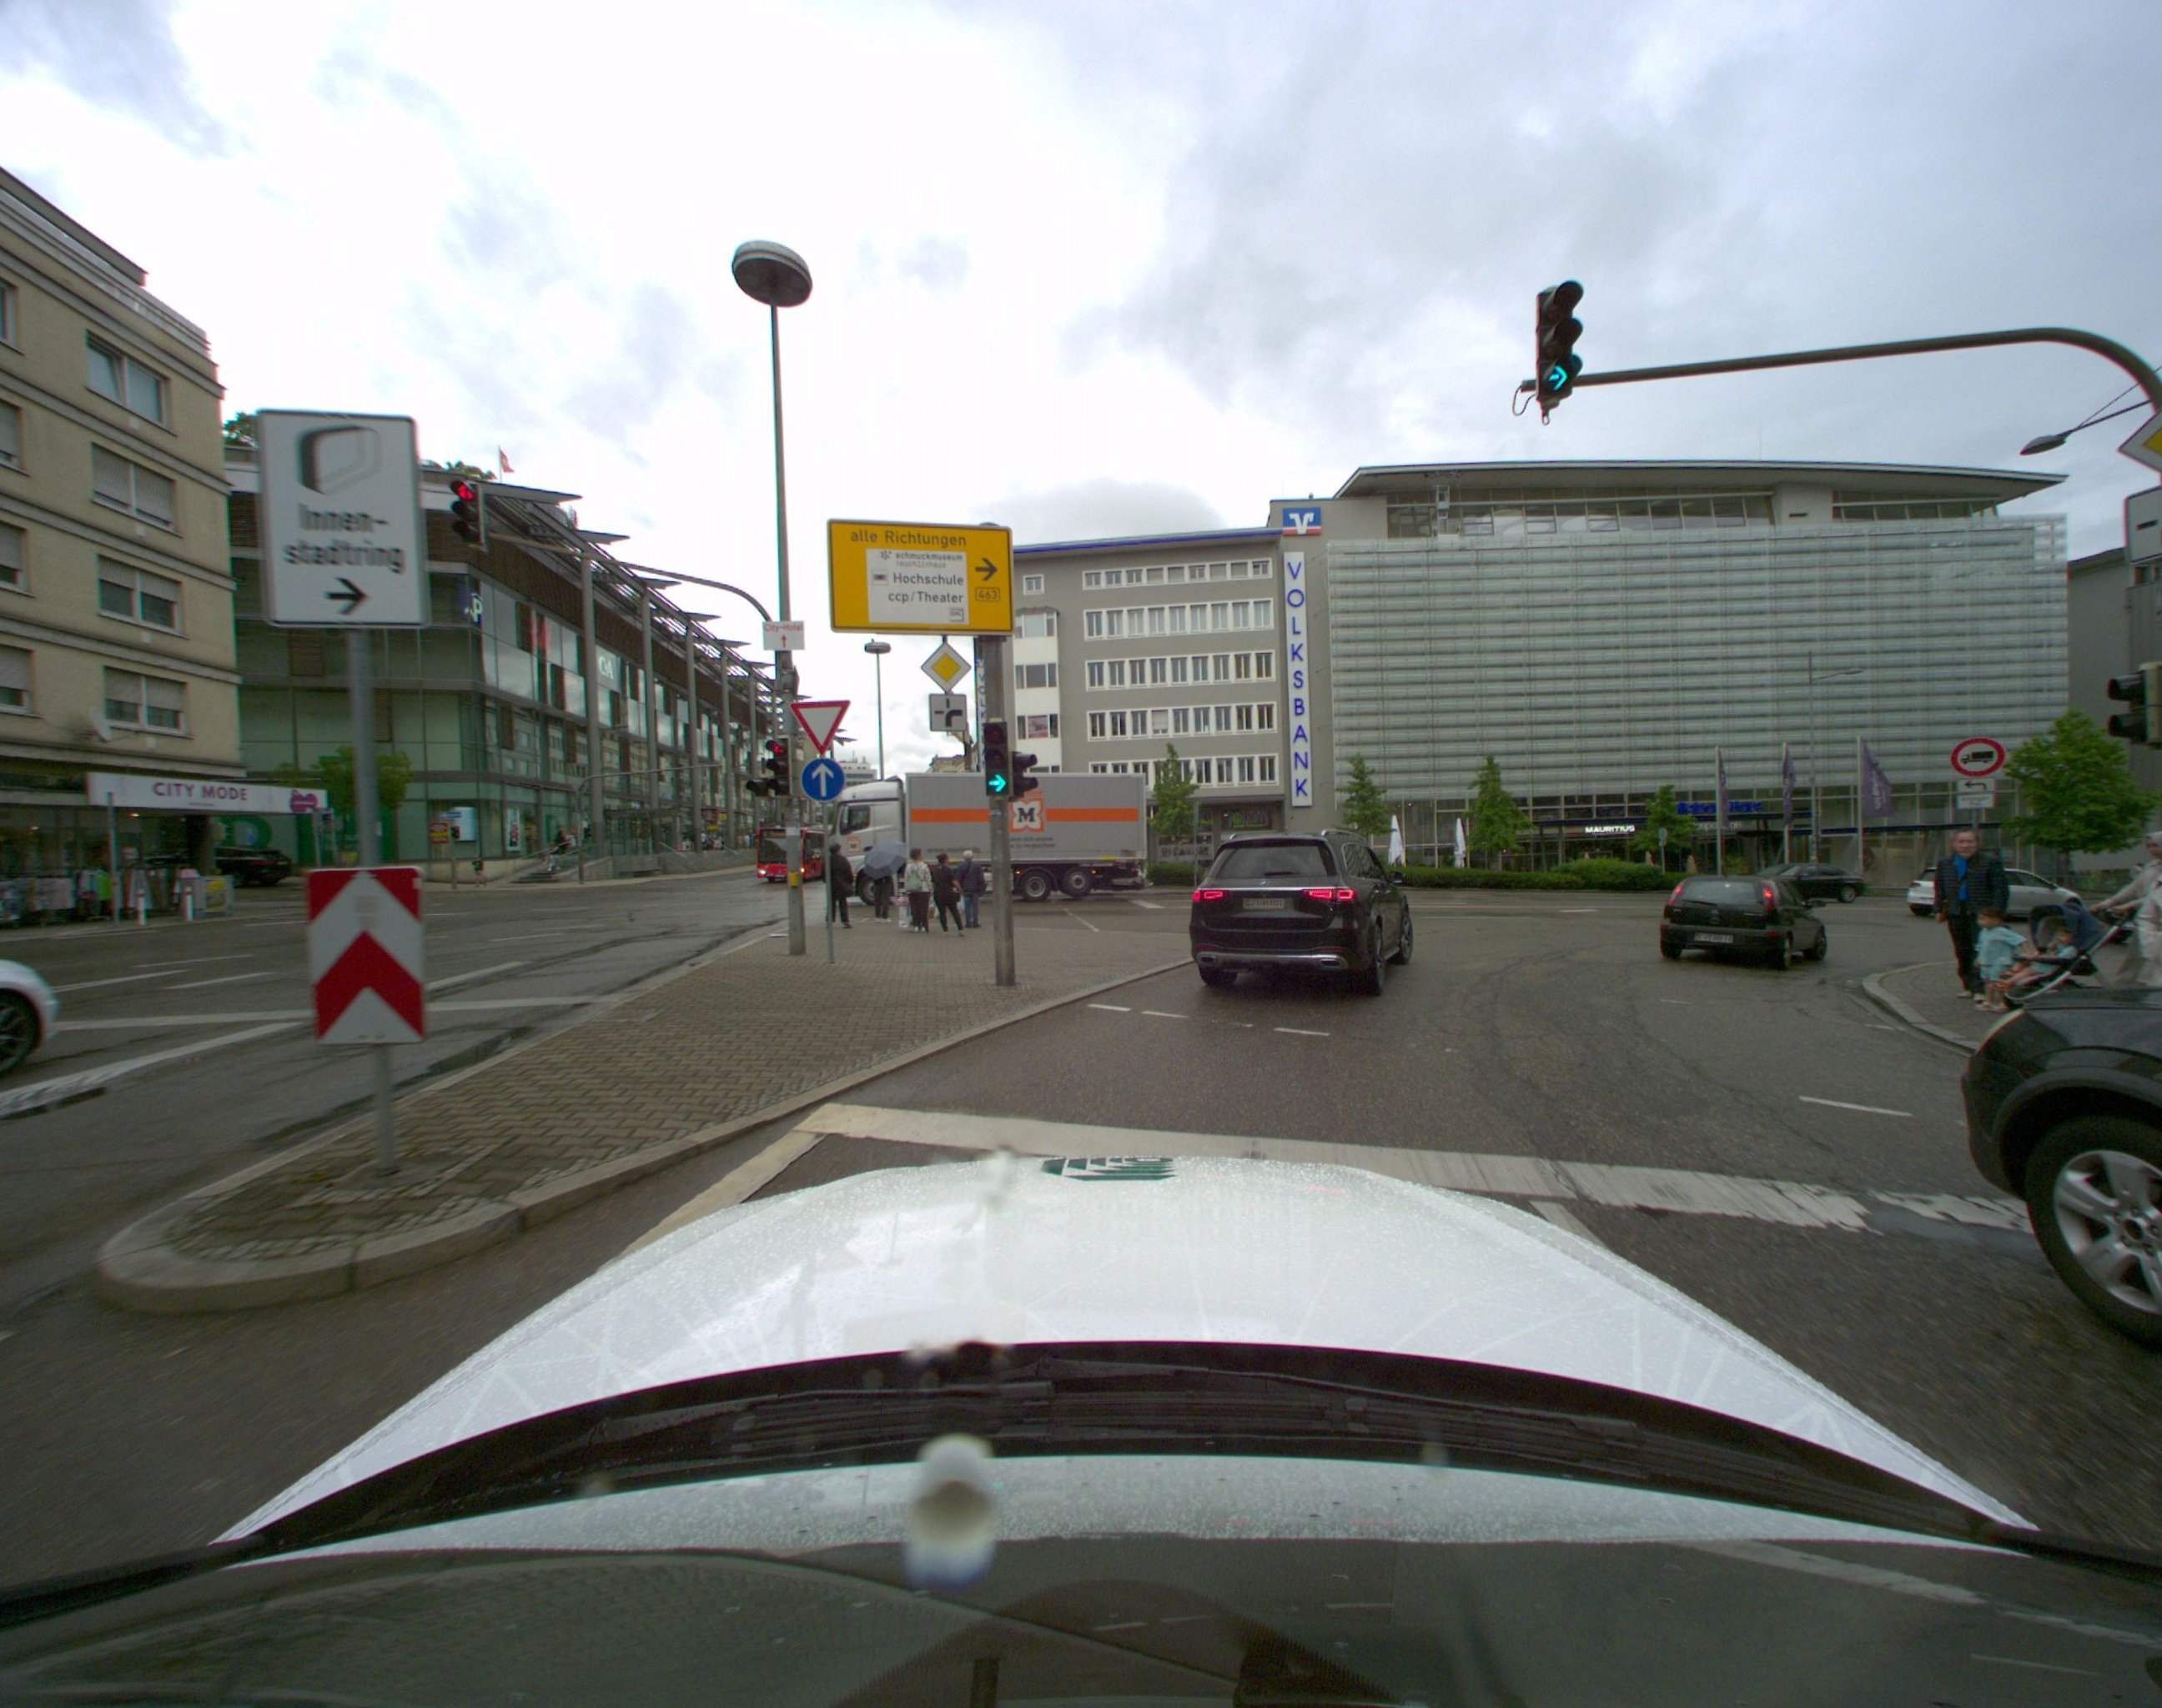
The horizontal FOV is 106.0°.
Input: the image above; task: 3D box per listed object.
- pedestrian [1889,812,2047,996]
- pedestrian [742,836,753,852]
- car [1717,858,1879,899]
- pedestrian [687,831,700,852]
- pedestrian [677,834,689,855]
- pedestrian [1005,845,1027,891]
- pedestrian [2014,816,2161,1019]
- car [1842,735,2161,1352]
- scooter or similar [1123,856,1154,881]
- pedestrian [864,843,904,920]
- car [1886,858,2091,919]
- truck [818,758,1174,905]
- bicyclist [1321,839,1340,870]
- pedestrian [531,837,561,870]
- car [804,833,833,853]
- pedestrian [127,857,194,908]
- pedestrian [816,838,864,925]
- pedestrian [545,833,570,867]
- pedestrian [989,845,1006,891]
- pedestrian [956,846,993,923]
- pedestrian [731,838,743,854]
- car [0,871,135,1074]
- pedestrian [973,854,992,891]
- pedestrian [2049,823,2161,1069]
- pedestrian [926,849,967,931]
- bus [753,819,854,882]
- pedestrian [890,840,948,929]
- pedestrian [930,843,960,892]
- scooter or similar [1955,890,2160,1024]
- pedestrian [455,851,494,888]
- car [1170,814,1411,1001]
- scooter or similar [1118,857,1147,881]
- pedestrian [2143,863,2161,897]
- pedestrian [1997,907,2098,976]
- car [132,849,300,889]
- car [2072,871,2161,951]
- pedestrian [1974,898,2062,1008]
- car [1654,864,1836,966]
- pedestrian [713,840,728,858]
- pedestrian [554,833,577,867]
[{"bbox_3d":[9.582,0.538,8.839,0.612,1.867,0.788,-5,-4,6],"label":"pedestrian"},{"bbox_3d":[-35.519,-1.097,86.674,0.939,1.713,0.987,-1,0,-15],"label":"pedestrian"},{"bbox_3d":[26.175,0.878,29.798,4.617,1.425,1.994,0,0,-9],"label":"car"},{"bbox_3d":[-31.693,-1.023,66.649,0.829,1.713,0.798,-1,0,-15],"label":"pedestrian"},{"bbox_3d":[-32.468,-0.758,66.437,0.682,1.713,0.846,-1,0,-15],"label":"pedestrian"},{"bbox_3d":[-2.392,0.502,30.017,0.778,1.689,0.638,0,0,-1],"label":"pedestrian"},{"bbox_3d":[9.513,0.537,7.380,1.030,1.722,0.840,-3,-1,7],"label":"pedestrian"},{"bbox_3d":[3.992,0.564,1.215,1.898,1.785,4.307,0,1,4],"label":"car"},{"bbox_3d":[3.006,0.735,42.156,1.488,1.256,0.934,0,3,10],"label":"scooter or similar"},{"bbox_3d":[-4.392,0.612,18.221,0.755,1.692,0.692,0,-2,-5],"label":"pedestrian"},{"bbox_3d":[25.470,0.936,22.937,3.984,1.573,1.952,0,1,-8],"label":"car"},{"bbox_3d":[-2.602,-0.739,26.164,10.729,4.333,2.848,-1,0,-8],"label":"truck"},{"bbox_3d":[14.058,0.047,45.853,0.840,1.704,0.624,-2,0,4],"label":"bicyclist"},{"bbox_3d":[-28.267,-0.032,43.069,1.040,1.713,1.002,-1,0,-15],"label":"pedestrian"},{"bbox_3d":[-26.455,-1.083,82.328,2.244,2.034,5.334,0,0,-12],"label":"car"},{"bbox_3d":[-30.007,0.917,26.564,0.870,1.586,1.152,-1,0,-6],"label":"pedestrian"},{"bbox_3d":[-4.832,0.553,16.370,0.782,1.711,0.705,0,-1,-5],"label":"pedestrian"},{"bbox_3d":[-30.594,-0.239,47.592,0.881,1.980,0.971,-1,0,-10],"label":"pedestrian"},{"bbox_3d":[-3.051,0.505,29.925,0.568,1.669,0.501,-1,0,-3],"label":"pedestrian"},{"bbox_3d":[-2.202,0.626,16.924,0.712,1.568,0.853,0,-1,-5],"label":"pedestrian"},{"bbox_3d":[-36.444,-0.874,86.300,1.040,1.713,1.002,-1,0,-15],"label":"pedestrian"},{"bbox_3d":[-8.329,0.881,4.291,1.792,1.415,4.616,-1,1,-10],"label":"car"},{"bbox_3d":[-3.613,0.664,29.883,0.631,1.339,0.585,0,0,-15],"label":"pedestrian"},{"bbox_3d":[7.468,0.605,5.531,0.539,1.637,0.835,-5,-3,-10],"label":"pedestrian"},{"bbox_3d":[-2.468,0.657,15.005,0.703,1.488,0.559,0,-1,-5],"label":"pedestrian"},{"bbox_3d":[-17.163,-0.157,52.060,2.919,3.320,18.421,0,0,-9],"label":"bus"},{"bbox_3d":[-3.119,0.566,15.796,0.976,1.672,0.914,0,0,-4],"label":"pedestrian"},{"bbox_3d":[-5.023,0.479,30.030,1.012,1.787,0.849,0,0,-16],"label":"pedestrian"},{"bbox_3d":[8.914,0.923,7.477,0.964,1.109,0.657,-4,-1,9],"label":"scooter or similar"},{"bbox_3d":[-28.068,0.704,37.708,1.030,1.713,1.012,-1,0,18],"label":"pedestrian"},{"bbox_3d":[2.968,0.521,10.545,2.068,1.817,4.820,0,0,26],"label":"car"},{"bbox_3d":[2.567,0.745,40.461,1.371,1.187,0.545,-2,0,10],"label":"scooter or similar"},{"bbox_3d":[55.161,1.298,41.525,1.310,1.713,0.814,0,0,-14],"label":"pedestrian"},{"bbox_3d":[8.897,0.799,7.508,0.369,0.571,0.460,-4,-1,10],"label":"pedestrian"},{"bbox_3d":[-35.184,0.592,33.279,4.296,1.546,1.793,1,0,-20],"label":"car"},{"bbox_3d":[24.100,1.209,17.477,3.989,1.573,1.949,0,1,-12],"label":"car"},{"bbox_3d":[9.190,0.960,8.002,0.259,0.999,0.474,-6,-2,13],"label":"pedestrian"},{"bbox_3d":[11.257,0.944,13.720,3.789,1.420,1.702,2,0,-40],"label":"car"},{"bbox_3d":[-33.316,-0.454,75.297,1.040,1.713,1.002,-1,0,-15],"label":"pedestrian"},{"bbox_3d":[-30.720,-0.236,48.544,0.875,1.980,0.847,-1,0,-10],"label":"pedestrian"}]
